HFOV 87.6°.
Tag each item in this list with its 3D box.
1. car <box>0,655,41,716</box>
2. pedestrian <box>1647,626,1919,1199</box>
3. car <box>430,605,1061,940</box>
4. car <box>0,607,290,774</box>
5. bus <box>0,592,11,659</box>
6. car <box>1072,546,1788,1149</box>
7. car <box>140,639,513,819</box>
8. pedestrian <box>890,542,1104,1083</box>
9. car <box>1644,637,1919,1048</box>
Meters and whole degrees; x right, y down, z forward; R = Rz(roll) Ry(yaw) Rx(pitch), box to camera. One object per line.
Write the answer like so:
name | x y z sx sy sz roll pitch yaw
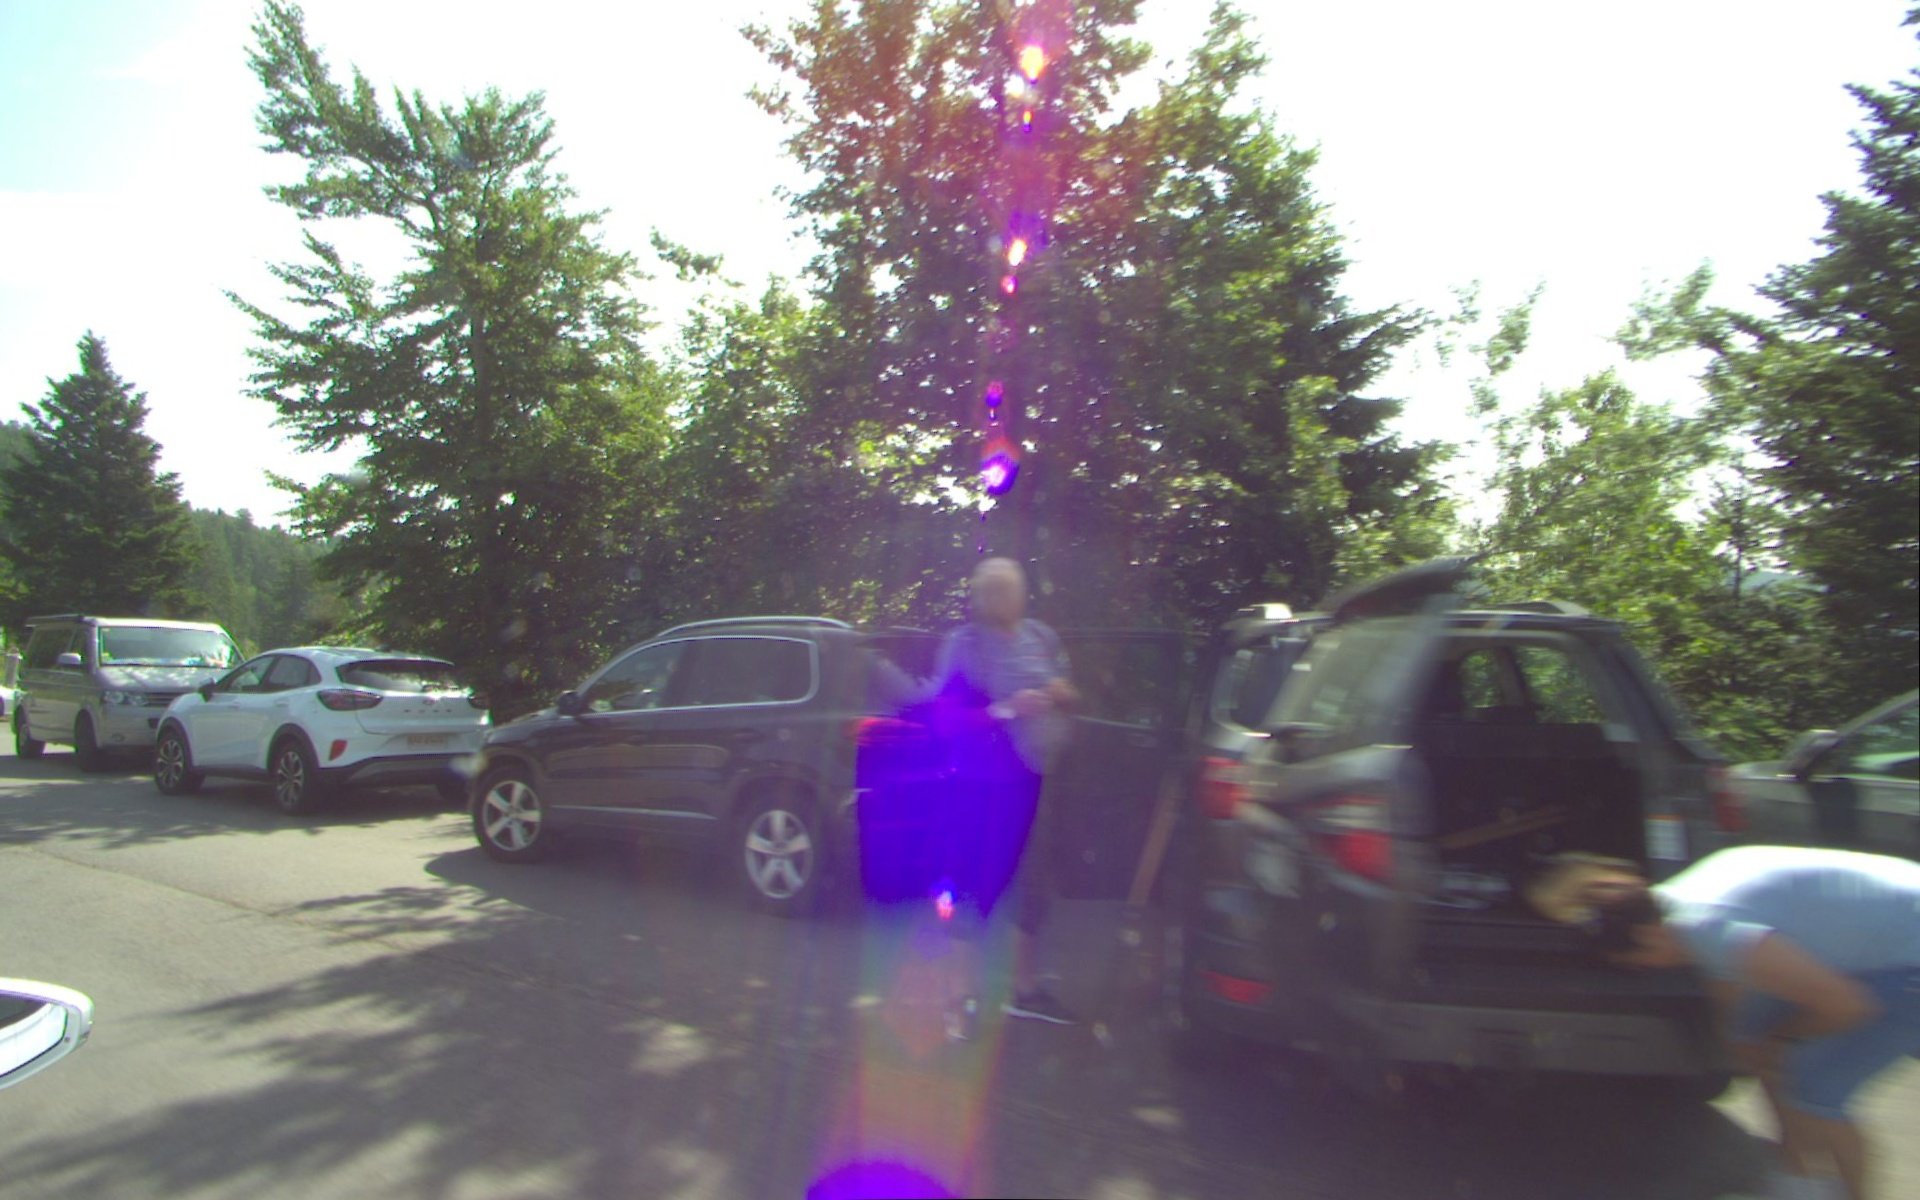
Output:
car | -22.148 1.733 20.647 1.553 1.314 4.467 1 -4 18
pedestrian | 2.053 0.795 2.327 0.661 1.422 0.770 2 3 40
car | -1.601 0.971 6.891 4.249 1.651 1.742 -2 -5 33
car | -11.656 1.191 14.194 4.754 1.996 1.902 -1 -4 35
bus | -58.234 1.308 52.047 12.759 3.626 2.955 1 1 -40
car | 1.549 0.851 4.925 1.961 1.681 4.005 0 -5 6
car | -6.636 1.228 10.397 3.992 1.536 1.678 -2 -5 32
pedestrian | 0.157 0.716 3.711 0.622 1.782 0.580 0 -3 21
car | 4.303 0.870 3.373 1.805 1.461 4.001 1 -2 10
